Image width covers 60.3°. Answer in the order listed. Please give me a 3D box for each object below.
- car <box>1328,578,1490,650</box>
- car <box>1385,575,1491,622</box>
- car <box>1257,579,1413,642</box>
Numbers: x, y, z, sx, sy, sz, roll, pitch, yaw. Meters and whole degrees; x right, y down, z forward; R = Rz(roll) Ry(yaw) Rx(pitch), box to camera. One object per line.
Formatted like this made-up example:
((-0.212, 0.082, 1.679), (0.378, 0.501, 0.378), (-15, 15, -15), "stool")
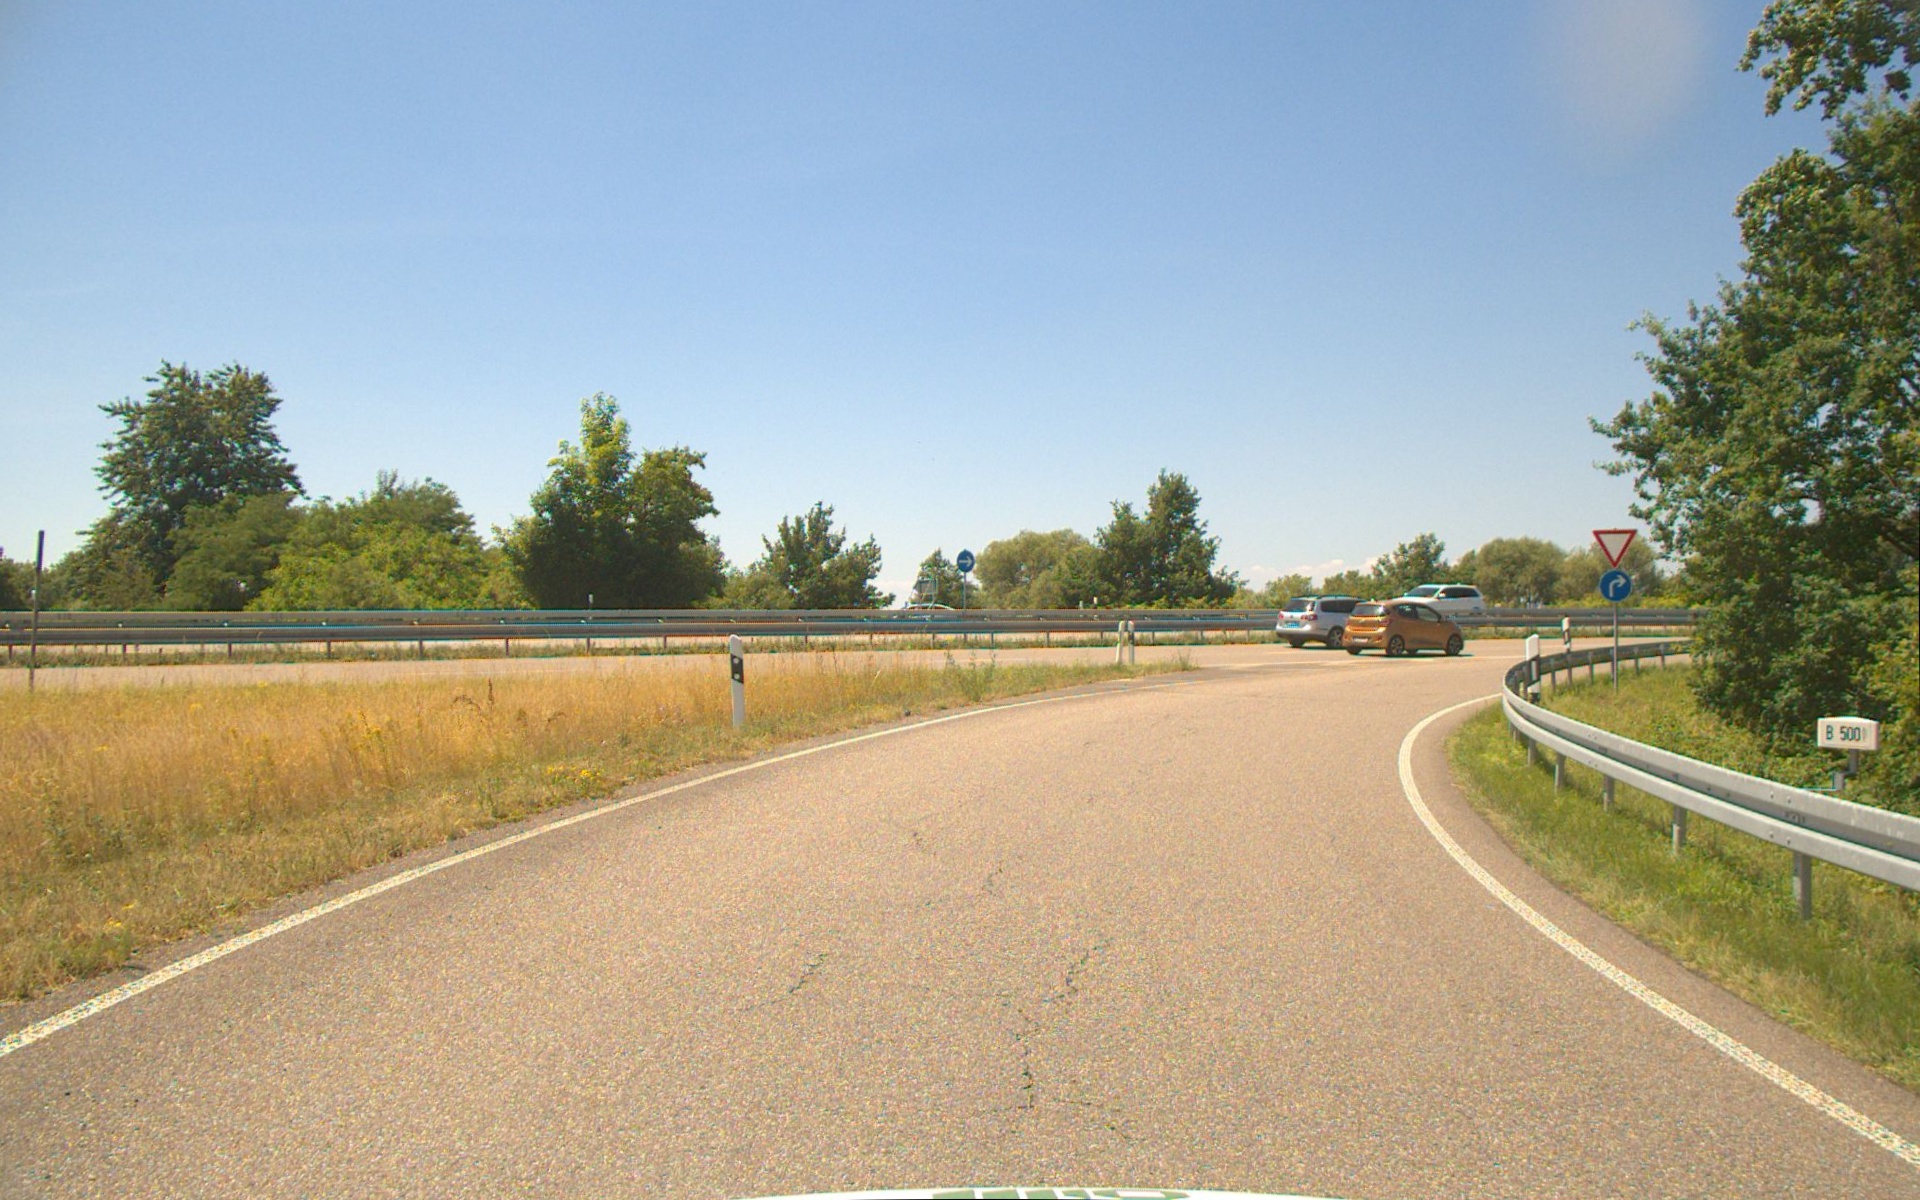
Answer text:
((12.402, 0.431, 45.603), (4.477, 1.821, 1.975), (2, -2, -36), "car")
((19.164, -0.066, 66.240), (4.362, 1.821, 1.972), (0, 0, -39), "car")
((11.298, 0.296, 49.727), (4.731, 1.821, 1.975), (0, 0, -36), "car")
